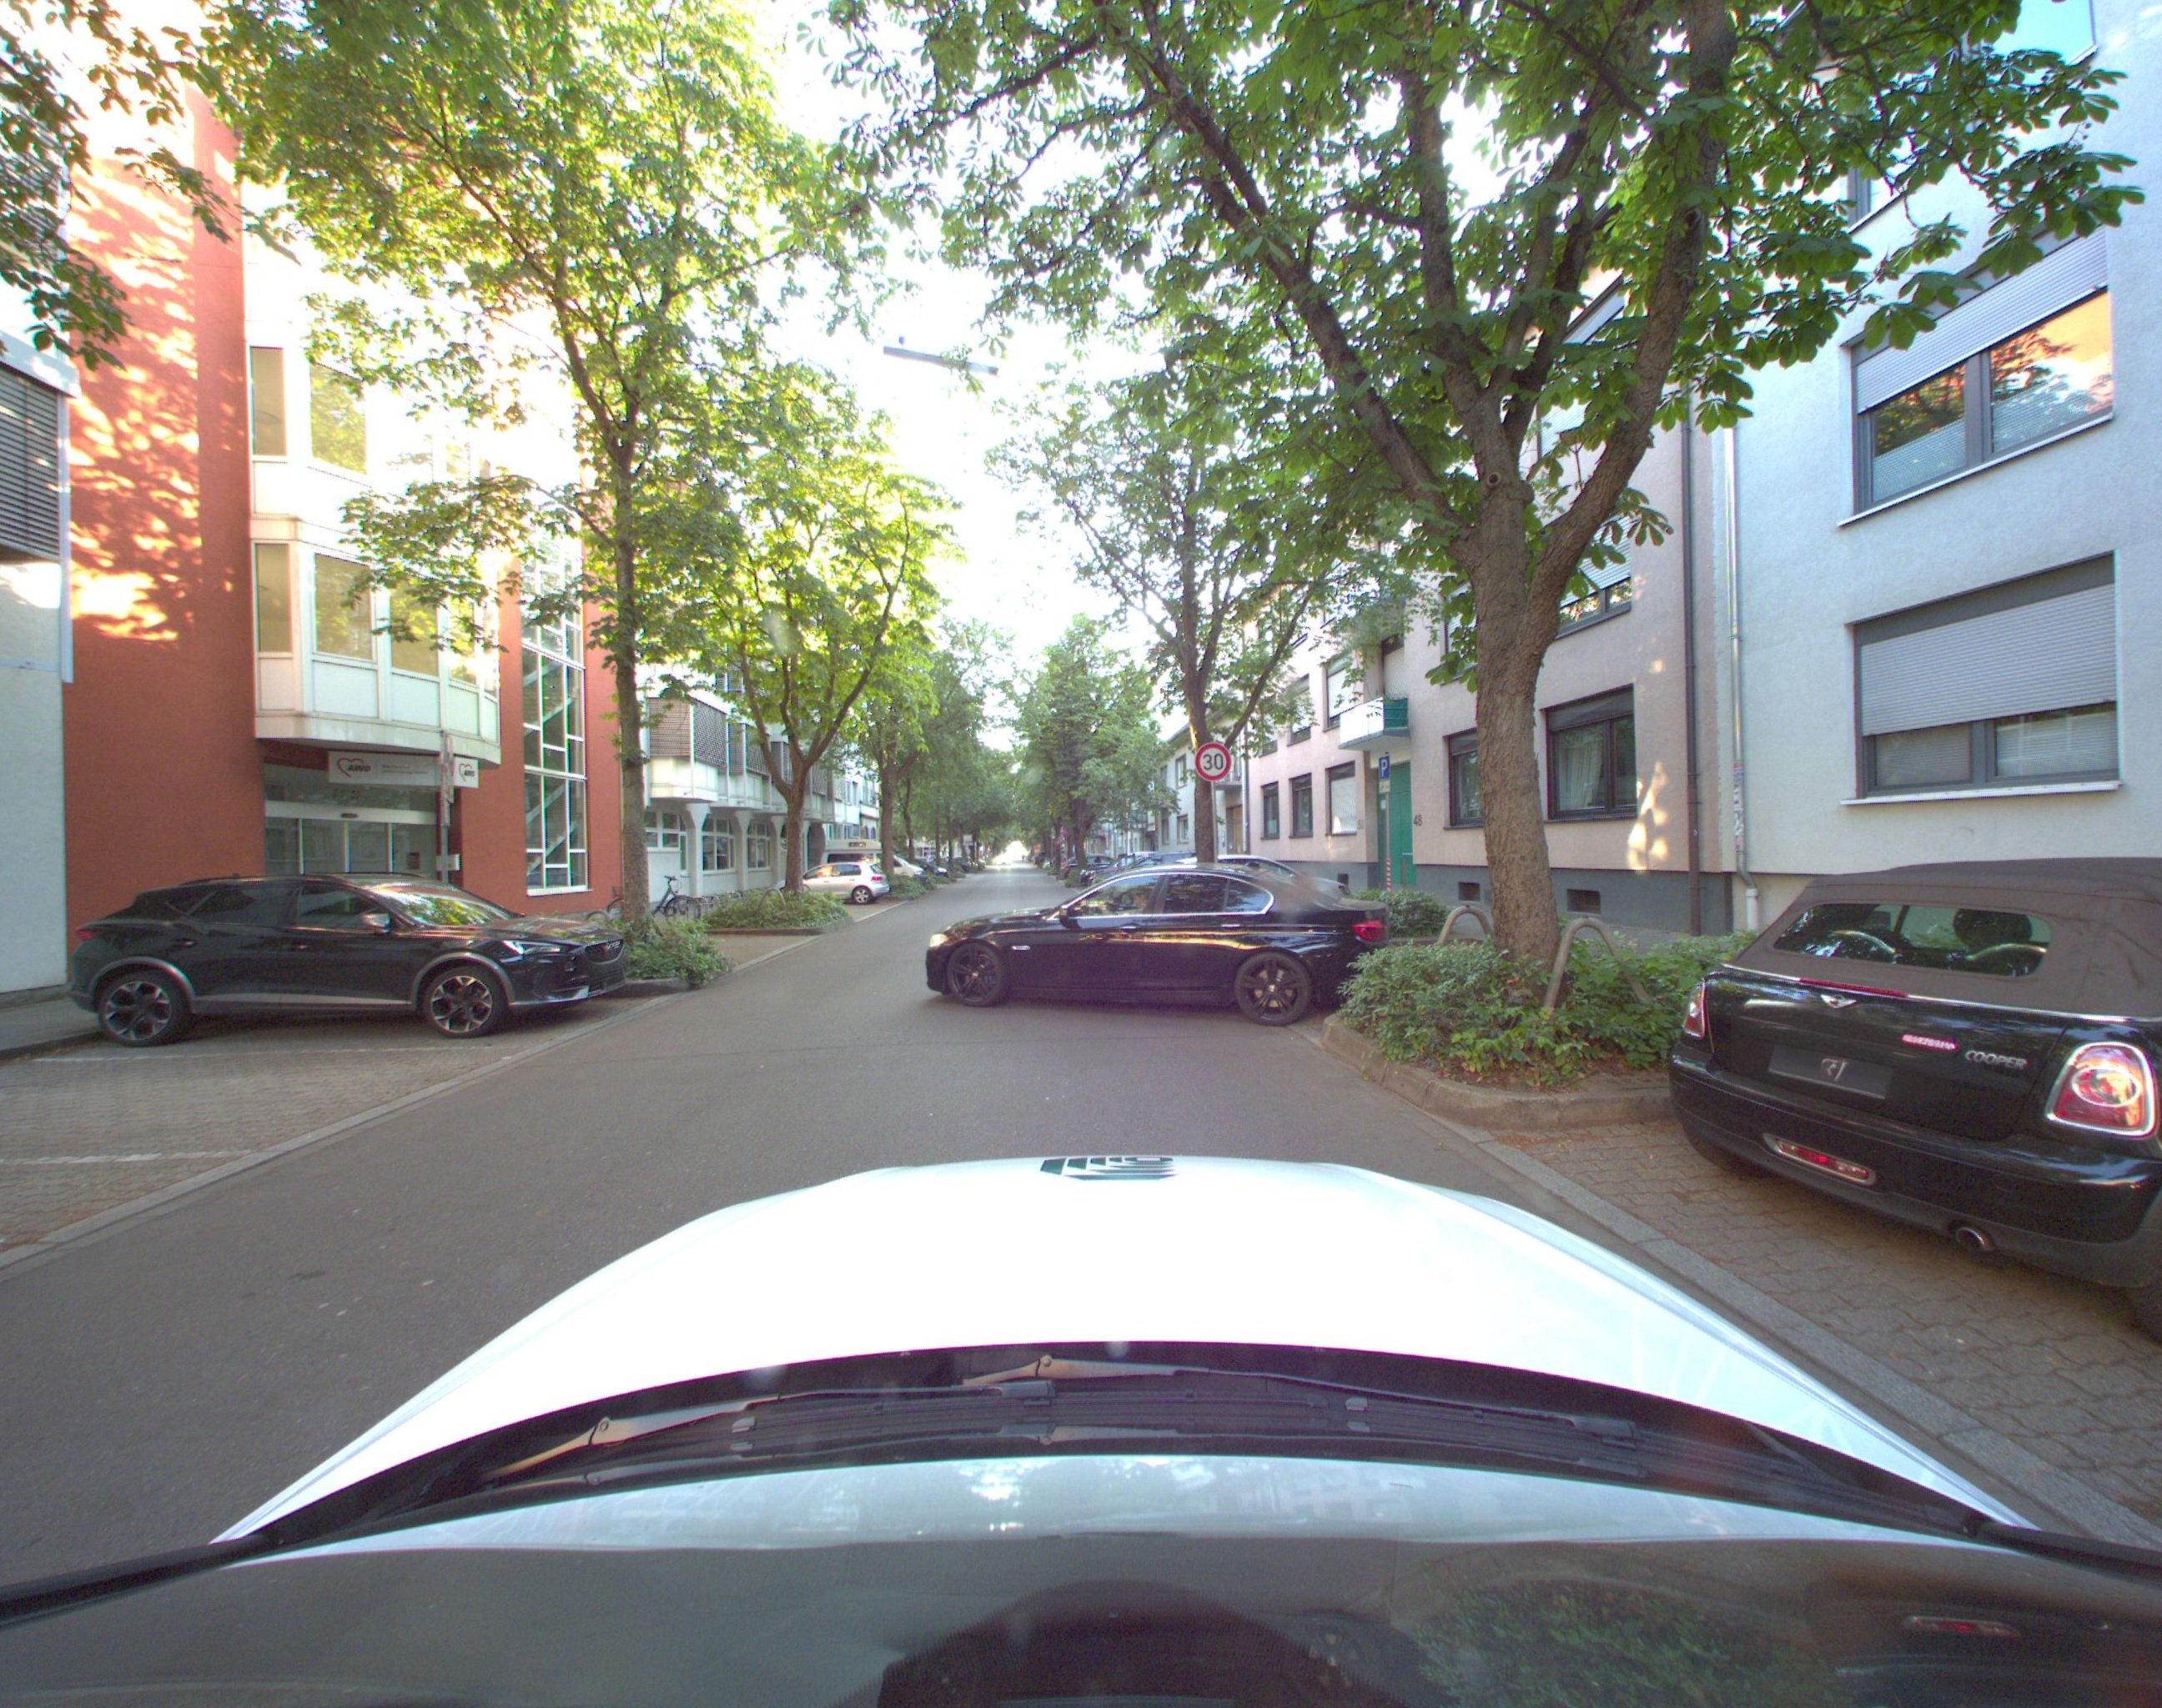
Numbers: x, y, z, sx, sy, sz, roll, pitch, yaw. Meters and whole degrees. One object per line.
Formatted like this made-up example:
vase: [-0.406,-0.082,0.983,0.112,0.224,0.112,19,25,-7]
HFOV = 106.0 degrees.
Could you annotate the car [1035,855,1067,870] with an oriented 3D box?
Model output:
car: [-3.723,1.027,101.058,3.959,1.684,1.783,-2,0,-4]

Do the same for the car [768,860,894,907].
car: [-8.846,1.028,29.089,3.960,1.517,1.783,-2,0,-4]

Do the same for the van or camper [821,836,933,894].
van or camper: [-9.291,0.469,37.422,4.656,2.478,1.997,-1,0,-5]

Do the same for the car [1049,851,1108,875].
car: [-0.173,0.640,56.992,3.963,1.527,1.781,-2,0,-6]

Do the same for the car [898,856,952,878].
car: [-12.396,1.047,64.972,3.959,1.619,1.783,-2,0,-4]

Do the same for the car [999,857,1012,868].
car: [-10.879,1.242,117.868,1.775,1.562,4.162,-1,0,-4]

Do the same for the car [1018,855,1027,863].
car: [-12.805,1.128,179.098,1.819,1.530,3.995,-2,0,-4]

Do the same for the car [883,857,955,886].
car: [-9.592,1.026,48.425,3.960,1.619,1.783,-2,0,-4]

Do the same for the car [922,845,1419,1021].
car: [0.908,0.714,8.479,4.706,1.480,1.809,-1,0,19]

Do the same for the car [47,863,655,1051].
car: [-7.022,0.921,8.277,4.347,1.517,1.782,-2,0,-5]

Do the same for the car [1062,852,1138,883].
car: [1.019,0.726,45.088,3.962,1.527,1.782,-2,0,-5]

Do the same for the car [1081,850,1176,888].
car: [2.078,0.651,36.246,3.962,1.527,1.782,-2,0,-5]

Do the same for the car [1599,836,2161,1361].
car: [4.348,0.625,3.273,3.608,1.363,1.660,-2,0,-8]

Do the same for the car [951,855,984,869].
car: [-14.365,0.956,103.198,3.959,1.619,1.783,-2,0,-4]

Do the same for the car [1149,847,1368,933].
car: [3.437,0.664,16.123,3.904,1.476,1.661,-2,0,-7]

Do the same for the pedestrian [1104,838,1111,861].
pedestrian: [2.438,-0.414,75.191,0.587,2.013,0.669,-1,0,-3]

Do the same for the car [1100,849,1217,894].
car: [2.779,0.615,29.762,3.963,1.476,1.781,-2,0,-7]

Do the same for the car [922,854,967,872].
car: [-12.844,0.837,76.642,3.959,1.619,1.783,-2,0,-4]
